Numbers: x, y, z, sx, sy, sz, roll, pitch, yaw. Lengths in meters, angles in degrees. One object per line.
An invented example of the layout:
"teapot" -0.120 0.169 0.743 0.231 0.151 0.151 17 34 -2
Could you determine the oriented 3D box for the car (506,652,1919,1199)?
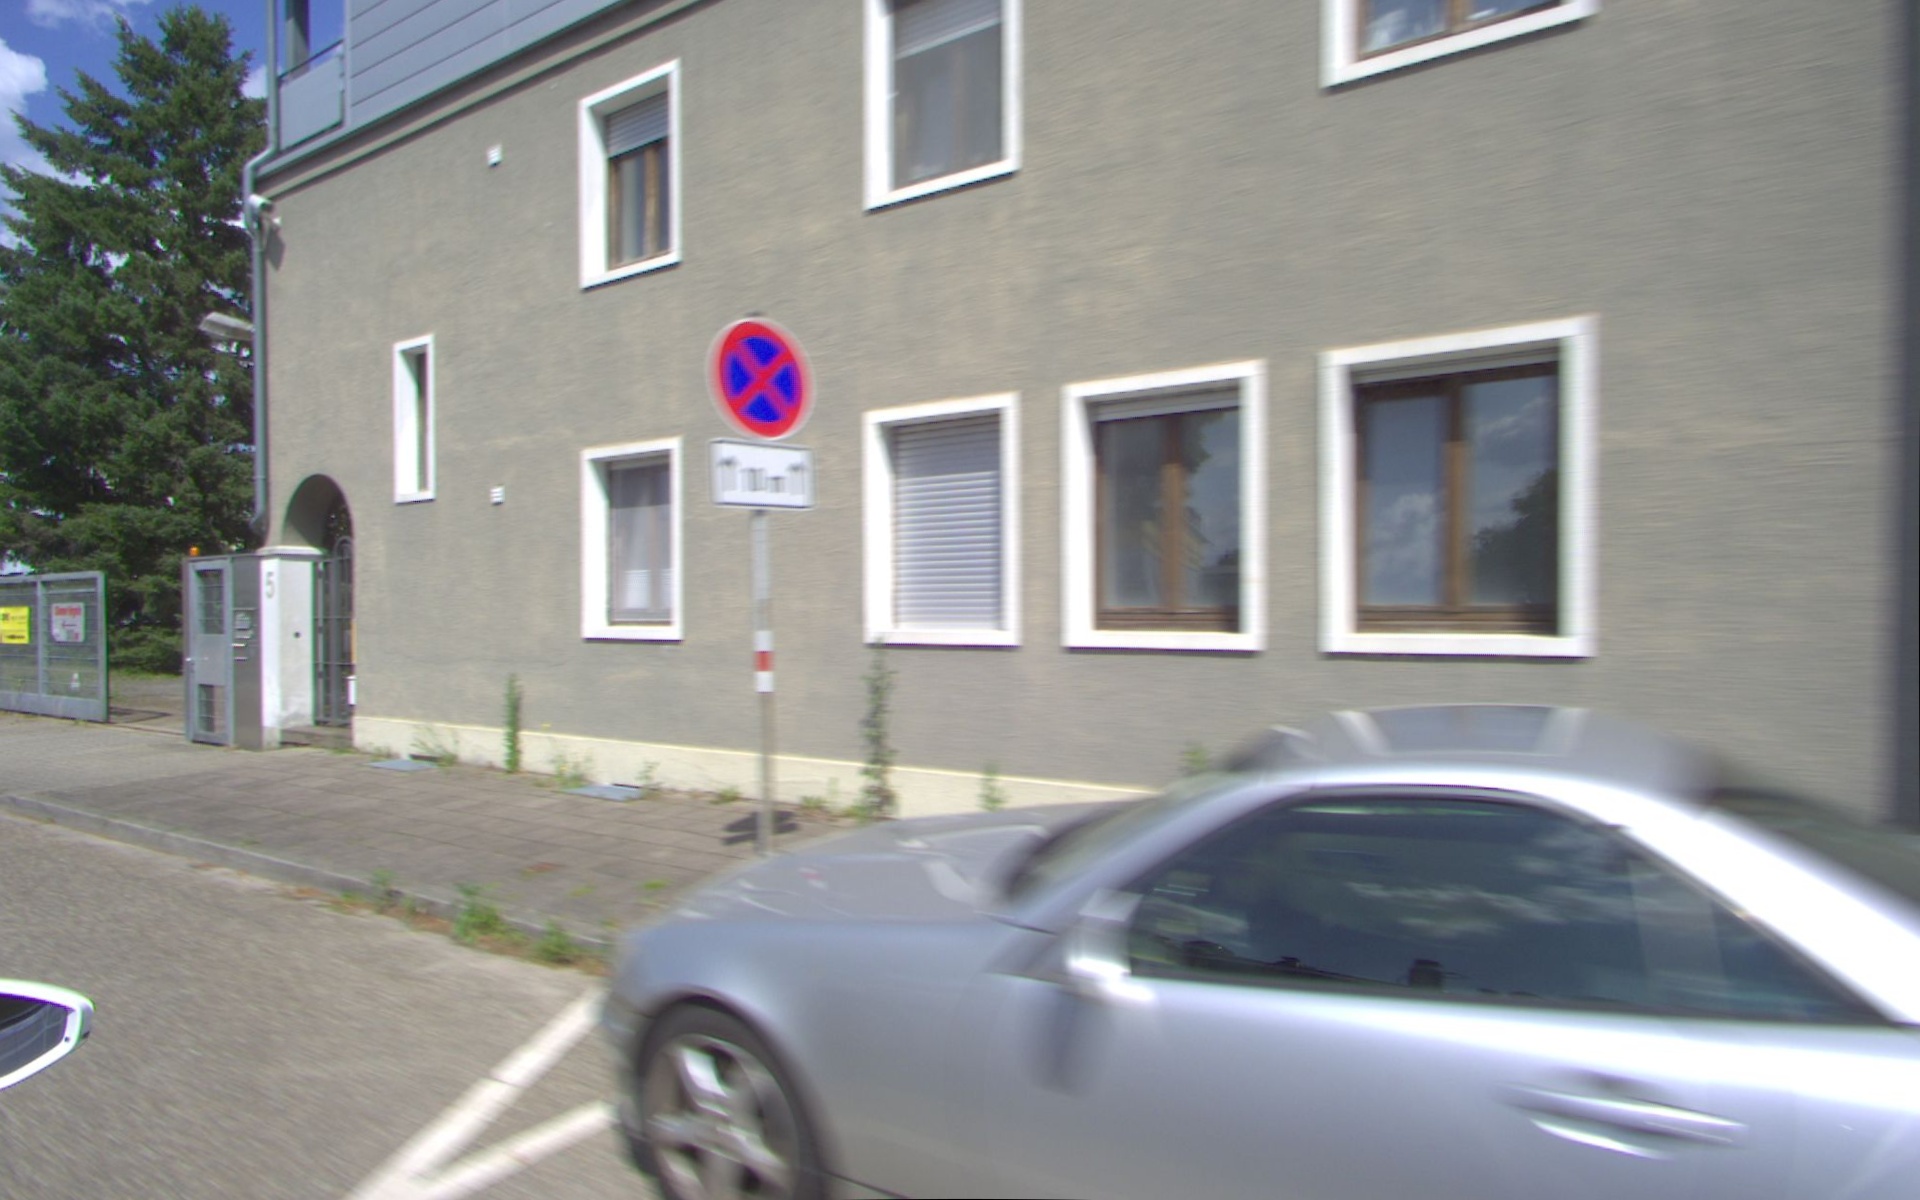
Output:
"car" 0.809 0.862 2.431 3.867 1.371 1.626 -1 -1 32
